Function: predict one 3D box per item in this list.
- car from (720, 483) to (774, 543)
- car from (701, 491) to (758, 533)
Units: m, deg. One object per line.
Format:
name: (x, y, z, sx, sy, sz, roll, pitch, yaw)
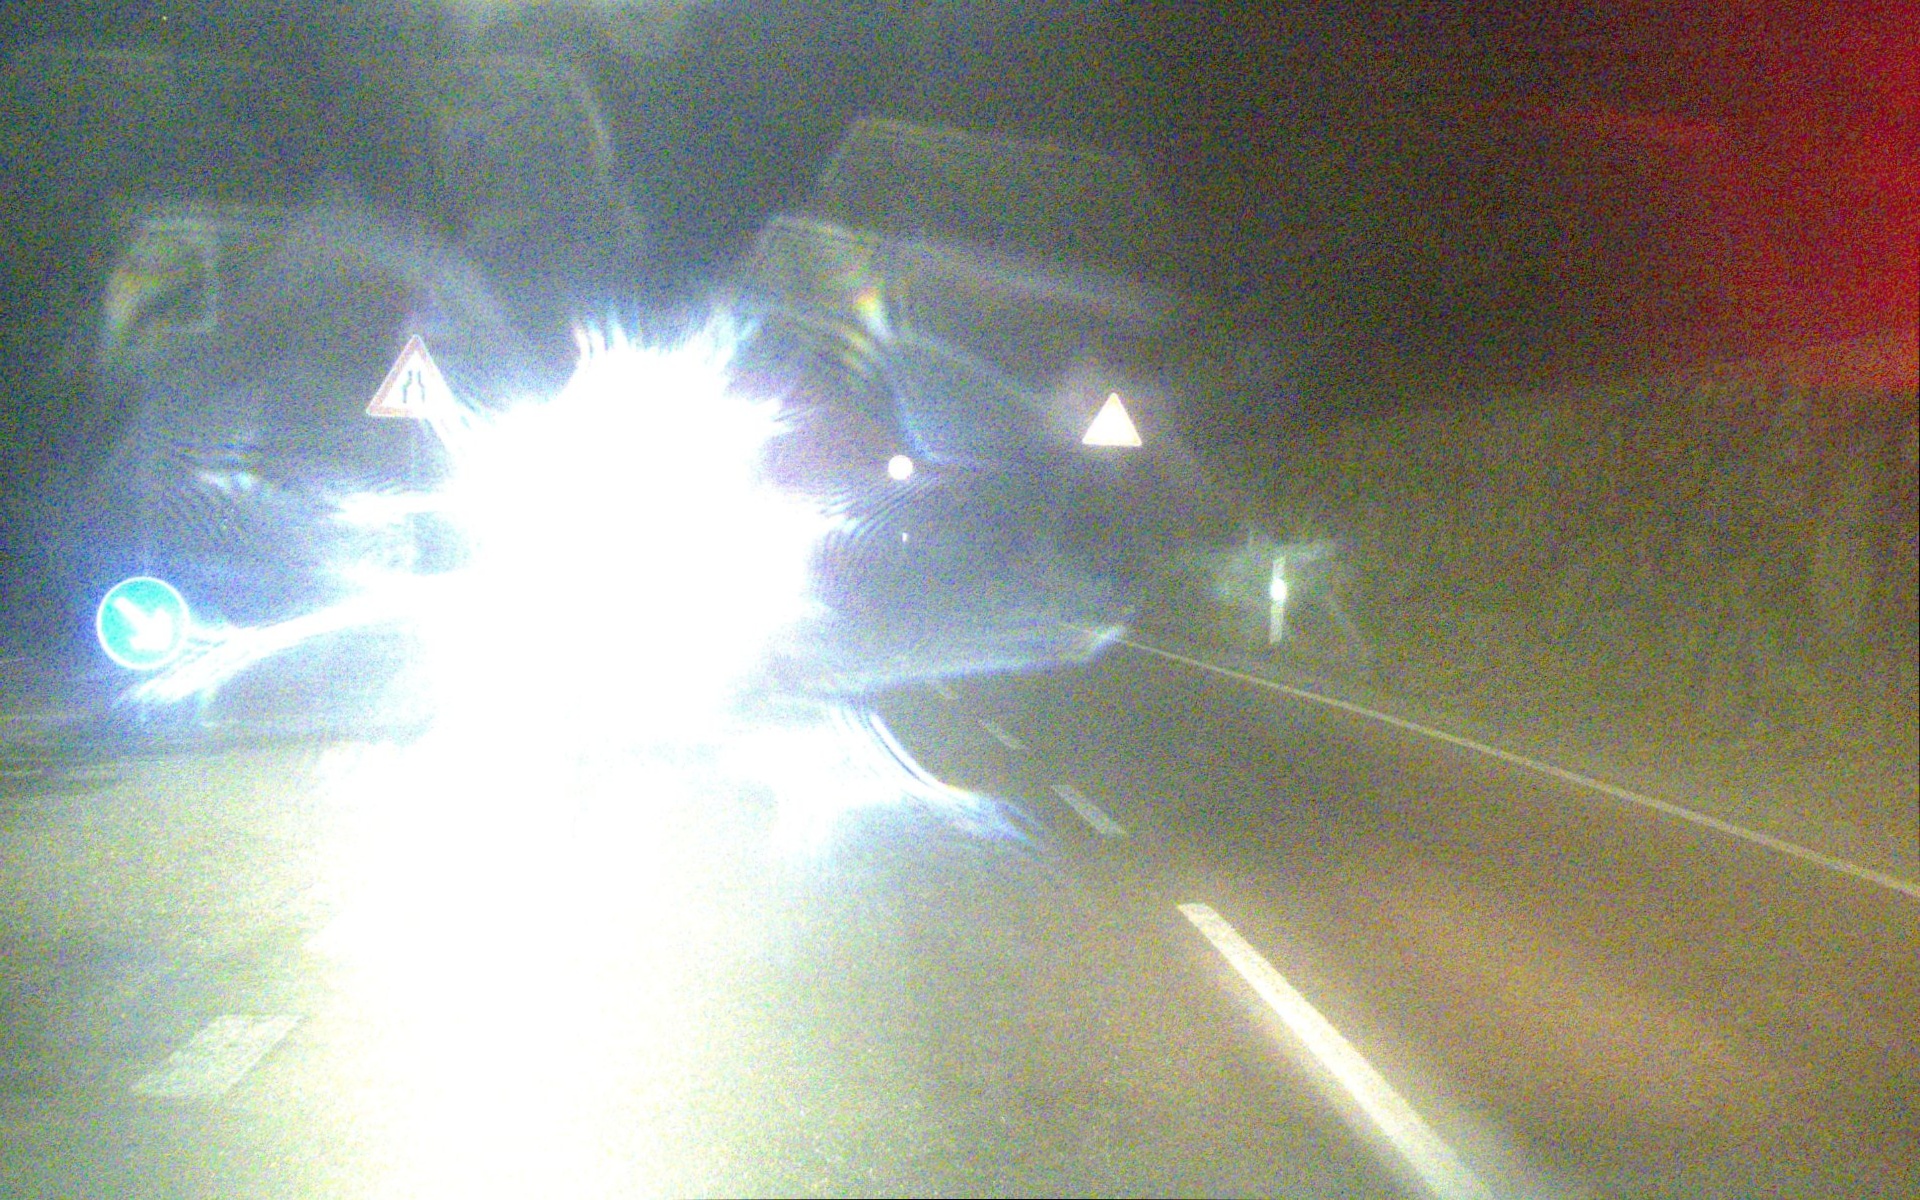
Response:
car: (-7.450, -3.027, 120.408, 1.791, 2.015, 4.580, 1, 1, -3)
car: (-10.855, -4.134, 162.400, 1.994, 1.711, 3.999, 5, 0, 5)
